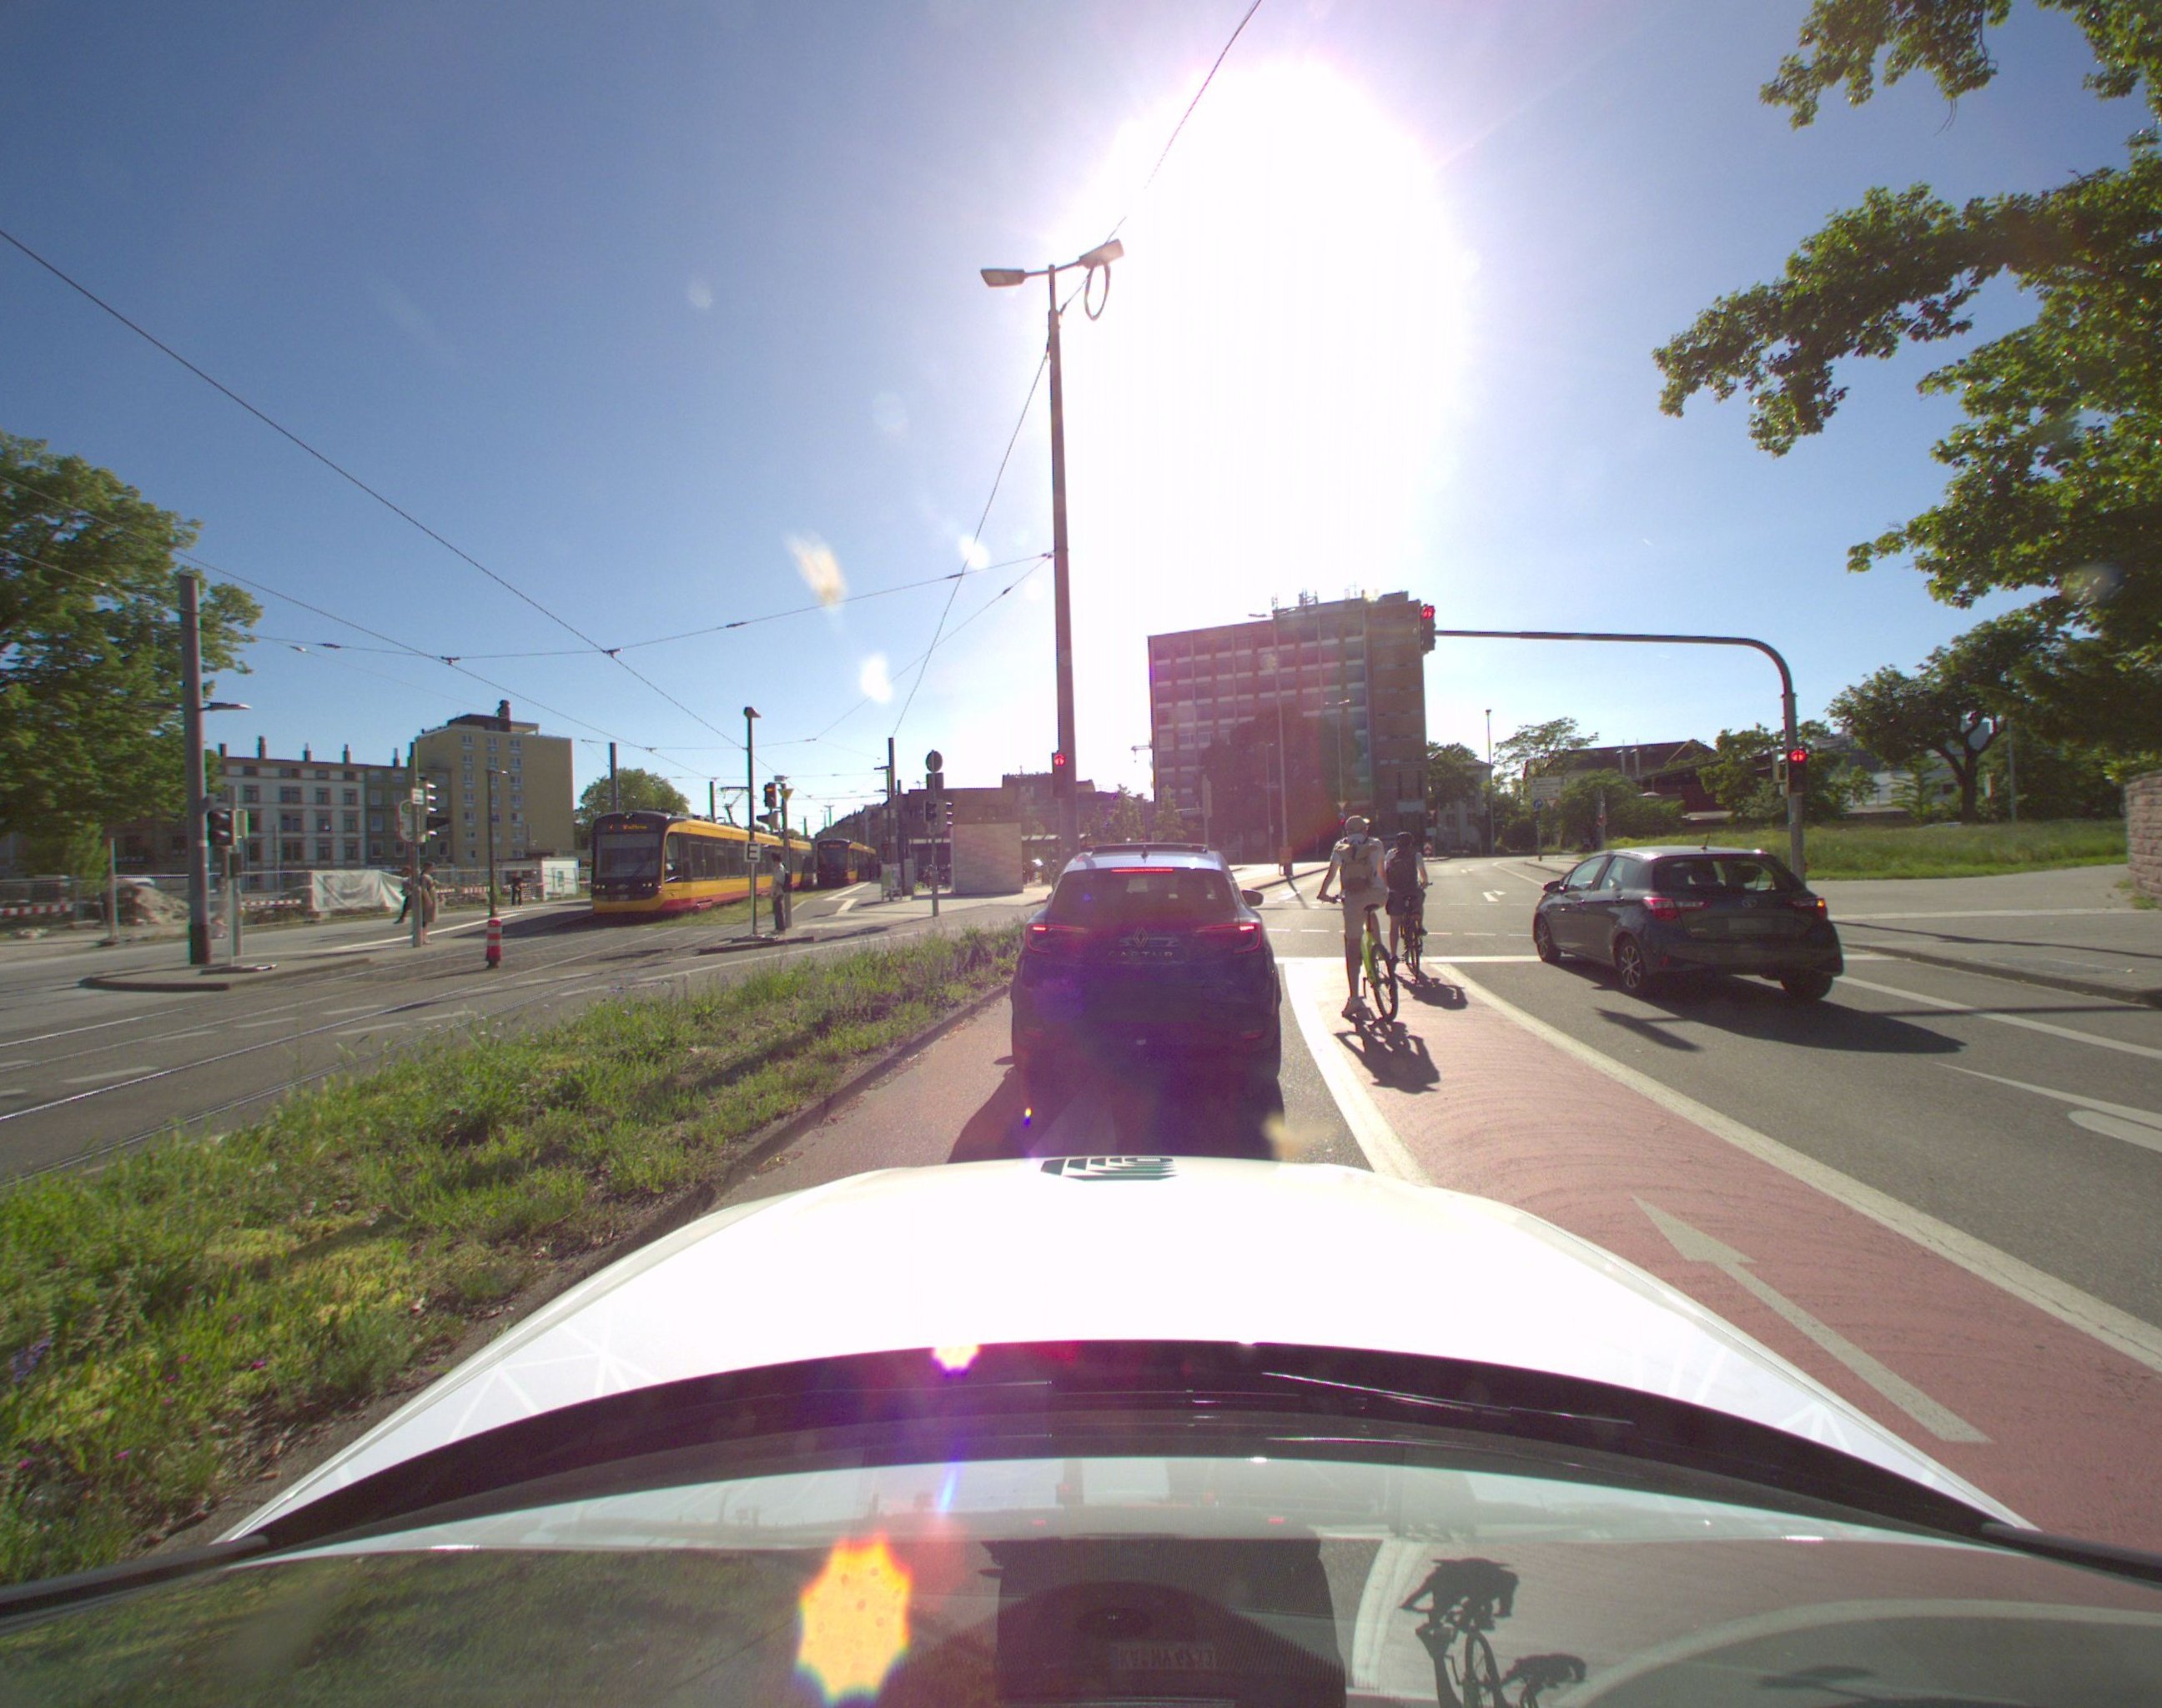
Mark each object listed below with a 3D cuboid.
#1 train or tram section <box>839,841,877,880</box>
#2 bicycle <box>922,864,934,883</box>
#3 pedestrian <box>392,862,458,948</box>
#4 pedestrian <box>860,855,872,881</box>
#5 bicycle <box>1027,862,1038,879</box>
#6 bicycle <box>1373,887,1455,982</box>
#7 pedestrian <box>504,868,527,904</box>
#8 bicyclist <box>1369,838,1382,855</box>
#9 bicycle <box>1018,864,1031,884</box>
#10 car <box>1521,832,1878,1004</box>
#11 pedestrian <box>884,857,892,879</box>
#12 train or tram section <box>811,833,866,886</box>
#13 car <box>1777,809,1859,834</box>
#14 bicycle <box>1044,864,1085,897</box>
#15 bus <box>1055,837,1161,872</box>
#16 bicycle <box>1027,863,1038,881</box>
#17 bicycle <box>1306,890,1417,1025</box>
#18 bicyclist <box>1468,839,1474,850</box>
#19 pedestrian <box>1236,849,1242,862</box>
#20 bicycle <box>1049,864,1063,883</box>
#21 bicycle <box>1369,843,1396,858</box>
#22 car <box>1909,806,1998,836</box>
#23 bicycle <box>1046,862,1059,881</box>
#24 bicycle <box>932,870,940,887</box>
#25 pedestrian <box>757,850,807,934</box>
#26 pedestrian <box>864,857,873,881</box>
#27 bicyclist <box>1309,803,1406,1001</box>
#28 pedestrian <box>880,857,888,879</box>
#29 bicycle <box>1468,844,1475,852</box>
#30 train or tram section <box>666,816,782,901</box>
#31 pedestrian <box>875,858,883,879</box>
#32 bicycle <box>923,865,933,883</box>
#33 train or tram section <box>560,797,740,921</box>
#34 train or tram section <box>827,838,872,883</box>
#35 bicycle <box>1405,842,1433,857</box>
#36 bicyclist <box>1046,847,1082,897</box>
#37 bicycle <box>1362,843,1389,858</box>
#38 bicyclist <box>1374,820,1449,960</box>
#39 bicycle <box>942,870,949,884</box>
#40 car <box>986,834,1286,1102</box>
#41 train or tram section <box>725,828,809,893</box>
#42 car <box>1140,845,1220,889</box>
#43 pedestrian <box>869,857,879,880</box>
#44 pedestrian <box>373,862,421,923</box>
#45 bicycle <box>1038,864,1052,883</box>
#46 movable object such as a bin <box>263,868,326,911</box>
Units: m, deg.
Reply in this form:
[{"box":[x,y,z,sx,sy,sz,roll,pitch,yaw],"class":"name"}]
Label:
[{"box":[-21.883,0.631,80.306,2.873,3.508,10.499,-1,0,-12],"class":"train or tram section"},{"box":[-8.669,1.112,46.265,0.565,1.093,2.023,-1,-1,-9],"class":"bicycle"},{"box":[-14.977,1.133,18.619,0.902,1.850,0.759,-2,2,-20],"class":"pedestrian"},{"box":[-16.028,1.054,60.800,0.848,1.883,0.757,-1,-2,-14],"class":"pedestrian"},{"box":[-3.358,1.148,56.403,0.580,1.088,1.865,-1,-1,-9],"class":"bicycle"},{"box":[4.040,0.928,9.993,0.717,0.960,1.892,-1,0,16],"class":"bicycle"},{"box":[-28.622,1.614,41.240,0.668,1.767,0.796,-2,0,-13],"class":"pedestrian"},{"box":[32.838,-0.807,90.861,1.195,1.897,0.889,-2,-2,27],"class":"bicyclist"},{"box":[-2.969,1.059,42.876,0.580,1.058,1.812,-1,-1,-7],"class":"bicycle"},{"box":[6.595,0.588,9.245,1.745,1.541,3.669,-1,0,10],"class":"car"},{"box":[-17.025,1.232,71.796,0.632,1.857,0.700,-1,-2,-9],"class":"pedestrian"},{"box":[-17.605,0.418,59.724,2.873,3.508,10.499,-1,0,-12],"class":"train or tram section"},{"box":[55.103,-2.416,61.005,4.195,1.568,1.835,-4,-1,30],"class":"car"},{"box":[-0.550,0.899,28.205,0.767,1.080,2.044,-3,-1,16],"class":"bicycle"},{"box":[2.656,0.171,86.945,12.287,3.396,2.900,-2,-2,42],"class":"bus"},{"box":[-2.927,1.086,48.914,0.580,1.088,2.053,-1,-1,-7],"class":"bicycle"},{"box":[2.629,0.921,7.833,0.659,1.047,1.895,-2,0,9],"class":"bicycle"},{"box":[51.833,-1.307,108.218,0.612,1.444,0.824,-2,0,32],"class":"bicyclist"},{"box":[20.243,0.209,104.103,0.555,1.670,0.479,-2,-2,39],"class":"pedestrian"},{"box":[-1.327,1.039,43.299,0.580,0.961,2.053,-1,-1,-7],"class":"bicycle"},{"box":[34.405,-0.408,92.818,2.775,1.541,0.889,-2,-2,27],"class":"bicycle"},{"box":[67.702,-2.557,63.309,4.305,2.014,2.013,-2,-2,34],"class":"car"},{"box":[-1.720,1.065,48.956,0.580,1.088,2.053,-1,-1,-7],"class":"bicycle"},{"box":[-8.539,1.448,47.979,0.422,0.938,1.300,0,-1,-13],"class":"bicycle"},{"box":[-6.687,0.831,18.209,1.020,1.832,0.755,0,-2,-23],"class":"pedestrian"},{"box":[-17.221,1.181,65.997,0.740,1.918,0.739,-1,-2,-14],"class":"pedestrian"},{"box":[2.594,0.427,7.733,0.660,1.747,1.008,-2,0,9],"class":"bicyclist"},{"box":[-16.402,1.178,67.823,0.634,1.857,0.699,0,-2,-17],"class":"pedestrian"},{"box":[51.888,-0.786,108.252,0.603,1.093,1.682,-3,0,32],"class":"bicycle"},{"box":[-16.822,0.239,39.225,2.818,3.508,10.569,-1,0,-11],"class":"train or tram section"},{"box":[-17.927,1.258,72.211,0.631,1.857,0.701,-1,-2,-7],"class":"pedestrian"},{"box":[-9.857,1.281,52.605,0.565,1.093,2.023,-1,-1,-9],"class":"bicycle"},{"box":[-14.695,0.183,28.874,2.820,3.508,10.433,-2,0,-12],"class":"train or tram section"},{"box":[-19.779,0.561,70.073,2.873,3.508,10.499,-1,0,-12],"class":"train or tram section"},{"box":[37.581,-0.455,90.658,2.775,1.541,0.889,-2,-2,27],"class":"bicycle"},{"box":[-0.579,0.618,28.215,0.873,1.644,1.065,-3,-1,16],"class":"bicyclist"},{"box":[32.842,-0.366,90.865,2.775,1.541,0.889,-2,-2,27],"class":"bicycle"},{"box":[4.033,0.416,10.002,0.716,1.626,1.059,-1,0,16],"class":"bicyclist"},{"box":[-8.814,1.495,53.011,0.421,0.938,1.374,0,-1,-9],"class":"bicycle"},{"box":[0.563,0.691,6.793,1.813,1.600,3.666,-1,0,8],"class":"car"},{"box":[-18.916,0.390,49.796,2.818,3.508,11.166,-1,0,-11],"class":"train or tram section"},{"box":[3.770,0.429,30.283,1.784,1.393,4.116,-2,1,24],"class":"car"},{"box":[-17.156,1.185,67.532,0.673,1.857,0.701,-1,-2,-7],"class":"pedestrian"},{"box":[-20.786,1.147,24.741,0.854,1.767,0.979,-3,-1,42],"class":"pedestrian"},{"box":[-1.941,1.049,43.226,0.580,0.961,2.053,-1,-1,-7],"class":"bicycle"},{"box":[-53.466,2.408,55.367,3.950,2.796,1.844,-2,-2,26],"class":"movable object such as a bin"}]
